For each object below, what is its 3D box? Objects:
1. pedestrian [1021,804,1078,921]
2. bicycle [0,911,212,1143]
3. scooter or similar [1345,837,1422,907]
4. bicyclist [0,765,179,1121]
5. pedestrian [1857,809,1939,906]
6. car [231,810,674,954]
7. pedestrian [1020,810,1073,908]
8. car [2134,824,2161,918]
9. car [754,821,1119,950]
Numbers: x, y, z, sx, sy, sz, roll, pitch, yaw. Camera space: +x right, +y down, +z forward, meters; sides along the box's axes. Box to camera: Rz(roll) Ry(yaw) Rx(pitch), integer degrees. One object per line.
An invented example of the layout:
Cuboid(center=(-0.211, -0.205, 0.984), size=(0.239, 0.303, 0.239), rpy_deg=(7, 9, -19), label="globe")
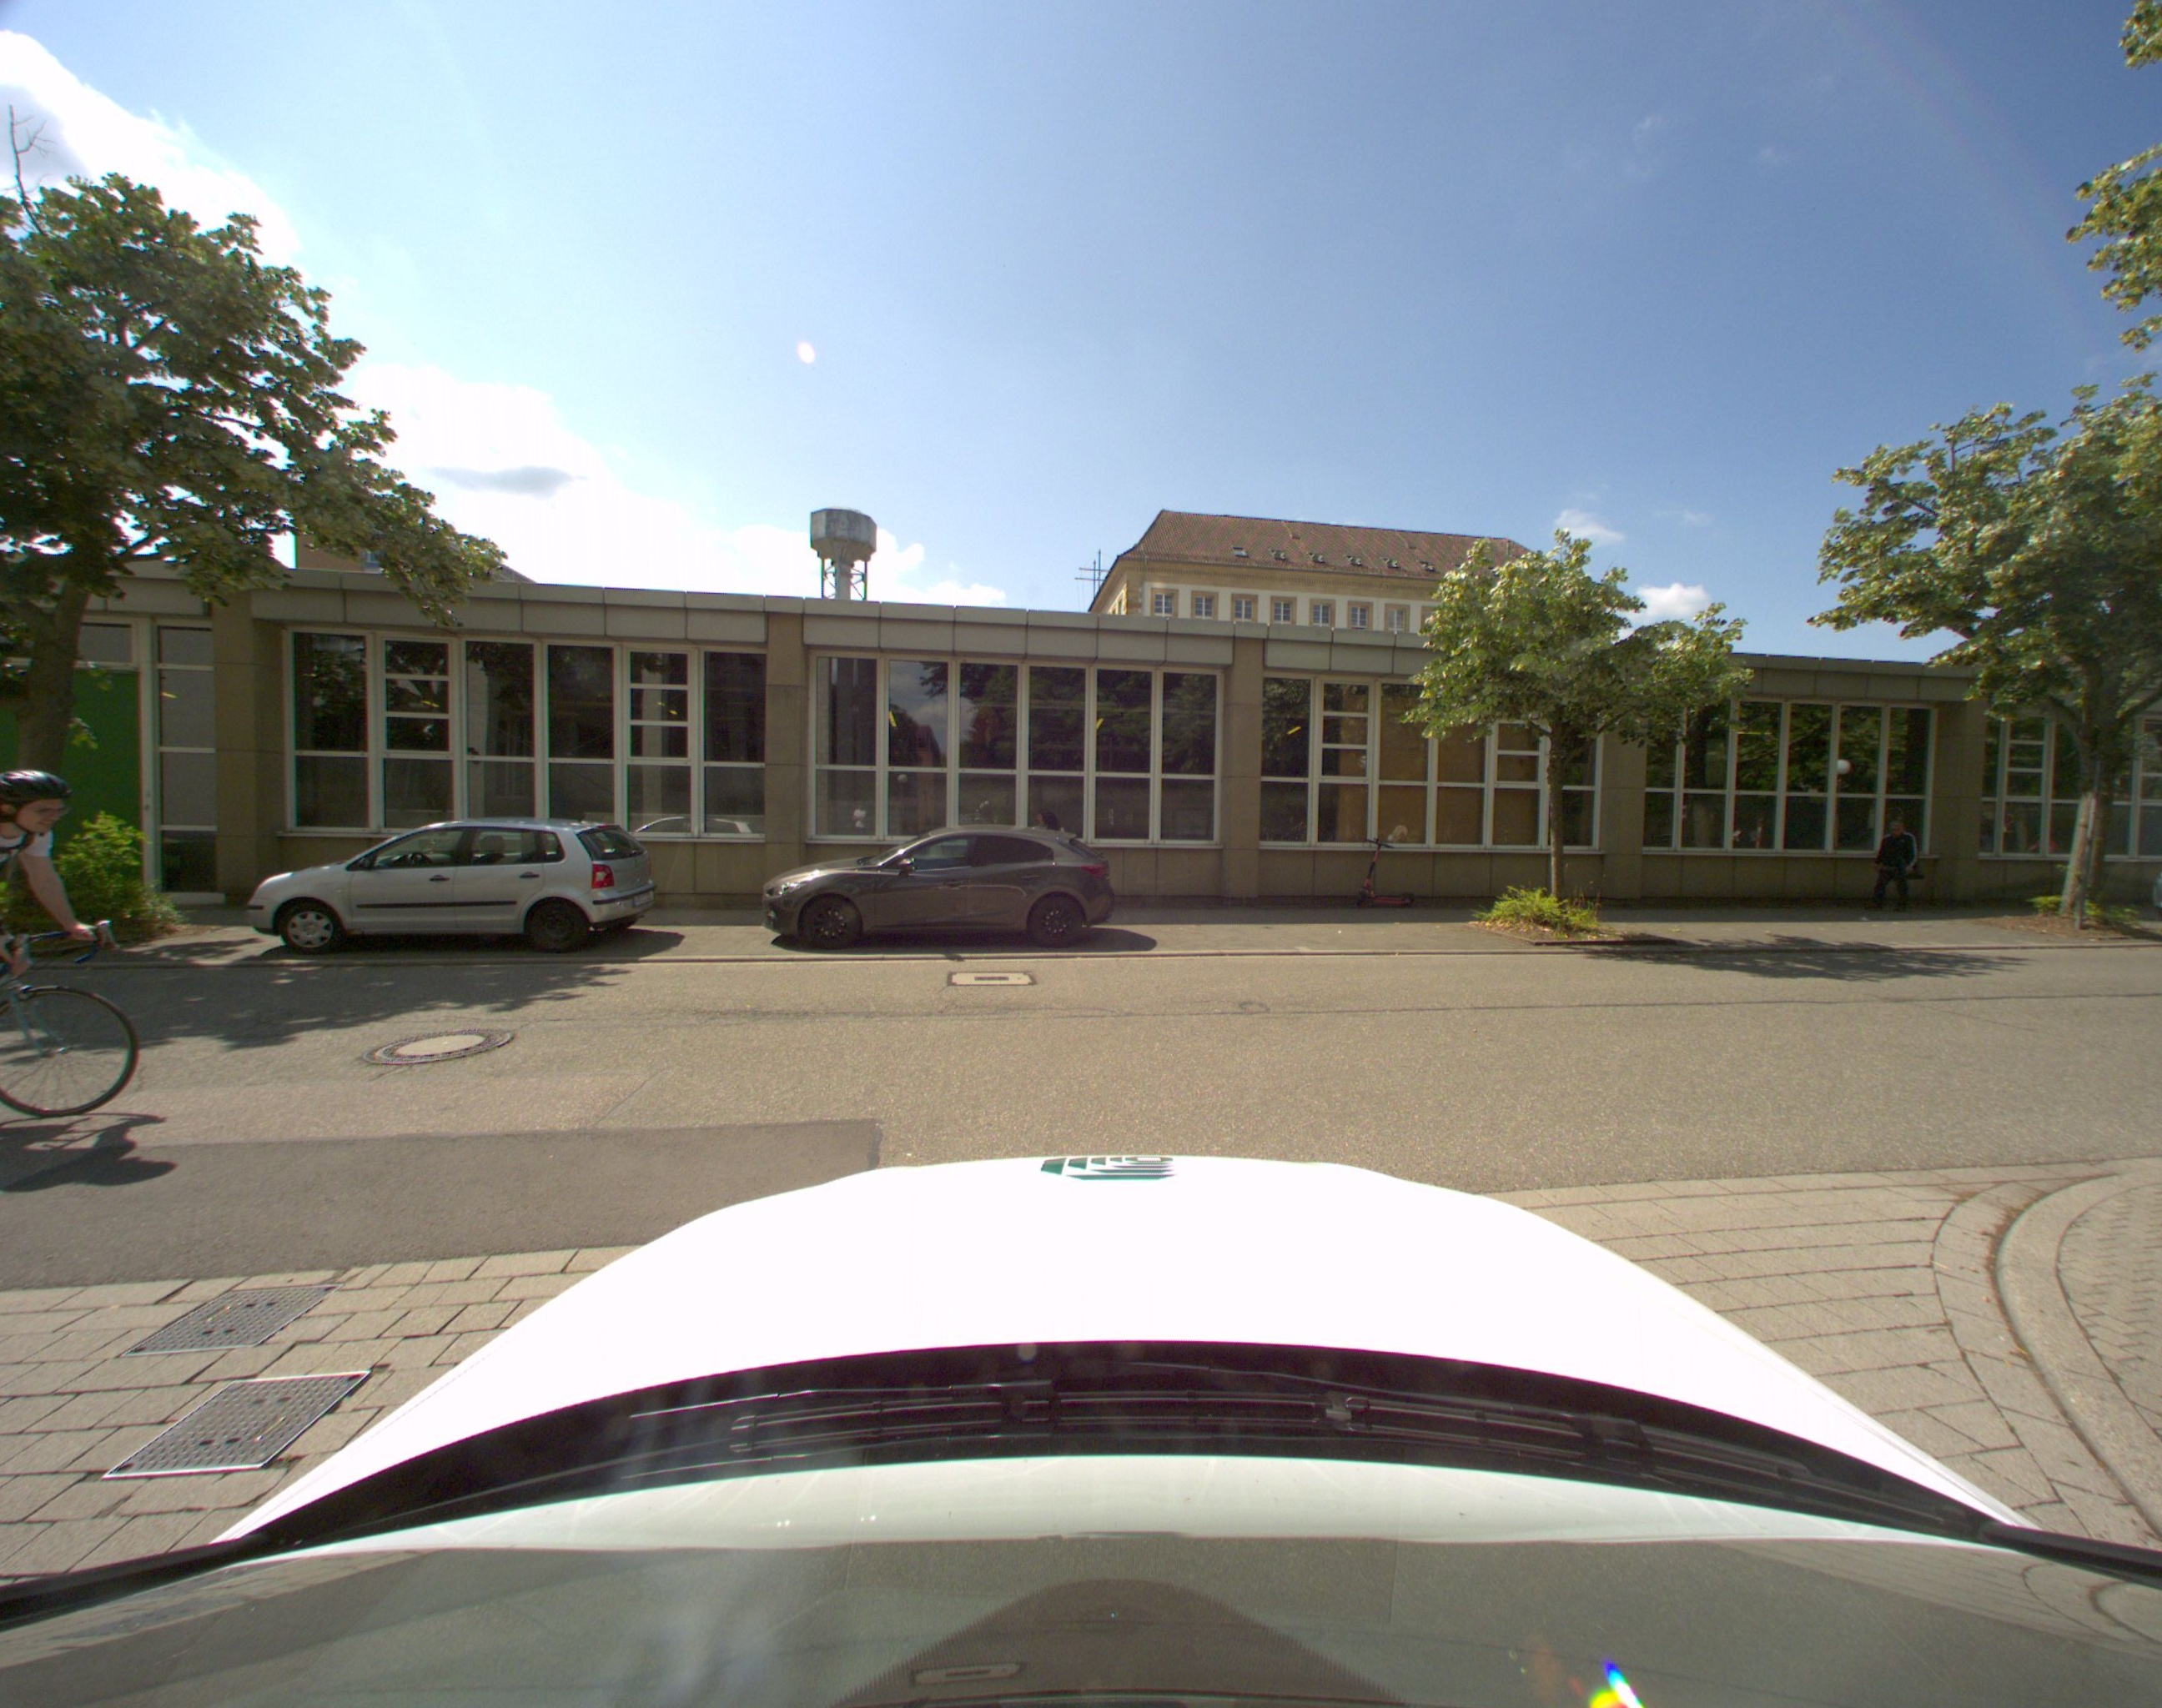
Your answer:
Cuboid(center=(-0.488, 0.116, 12.398), size=(0.794, 1.727, 0.600), rpy_deg=(0, 3, -8), label="pedestrian")
Cuboid(center=(-5.758, 0.834, 4.016), size=(1.905, 0.992, 0.706), rpy_deg=(0, 4, -12), label="bicycle")
Cuboid(center=(5.414, 0.304, 14.583), size=(1.242, 1.206, 0.383), rpy_deg=(0, 4, -9), label="scooter or similar")
Cuboid(center=(-5.495, 0.393, 4.031), size=(1.092, 1.661, 0.717), rpy_deg=(0, 4, -11), label="bicyclist")
Cuboid(center=(15.554, 0.045, 15.532), size=(0.667, 1.786, 0.789), rpy_deg=(0, 4, -7), label="pedestrian")
Cuboid(center=(-7.096, 0.271, 9.600), size=(3.739, 1.448, 1.631), rpy_deg=(0, 5, -9), label="car")
Cuboid(center=(-0.567, 0.067, 13.132), size=(0.794, 1.541, 0.662), rpy_deg=(0, 3, -8), label="pedestrian")
Cuboid(center=(21.176, 0.371, 14.016), size=(4.503, 1.631, 1.822), rpy_deg=(1, 4, -11), label="car")
Cuboid(center=(-1.765, 0.320, 10.577), size=(4.274, 1.434, 1.726), rpy_deg=(0, 4, -9), label="car")
